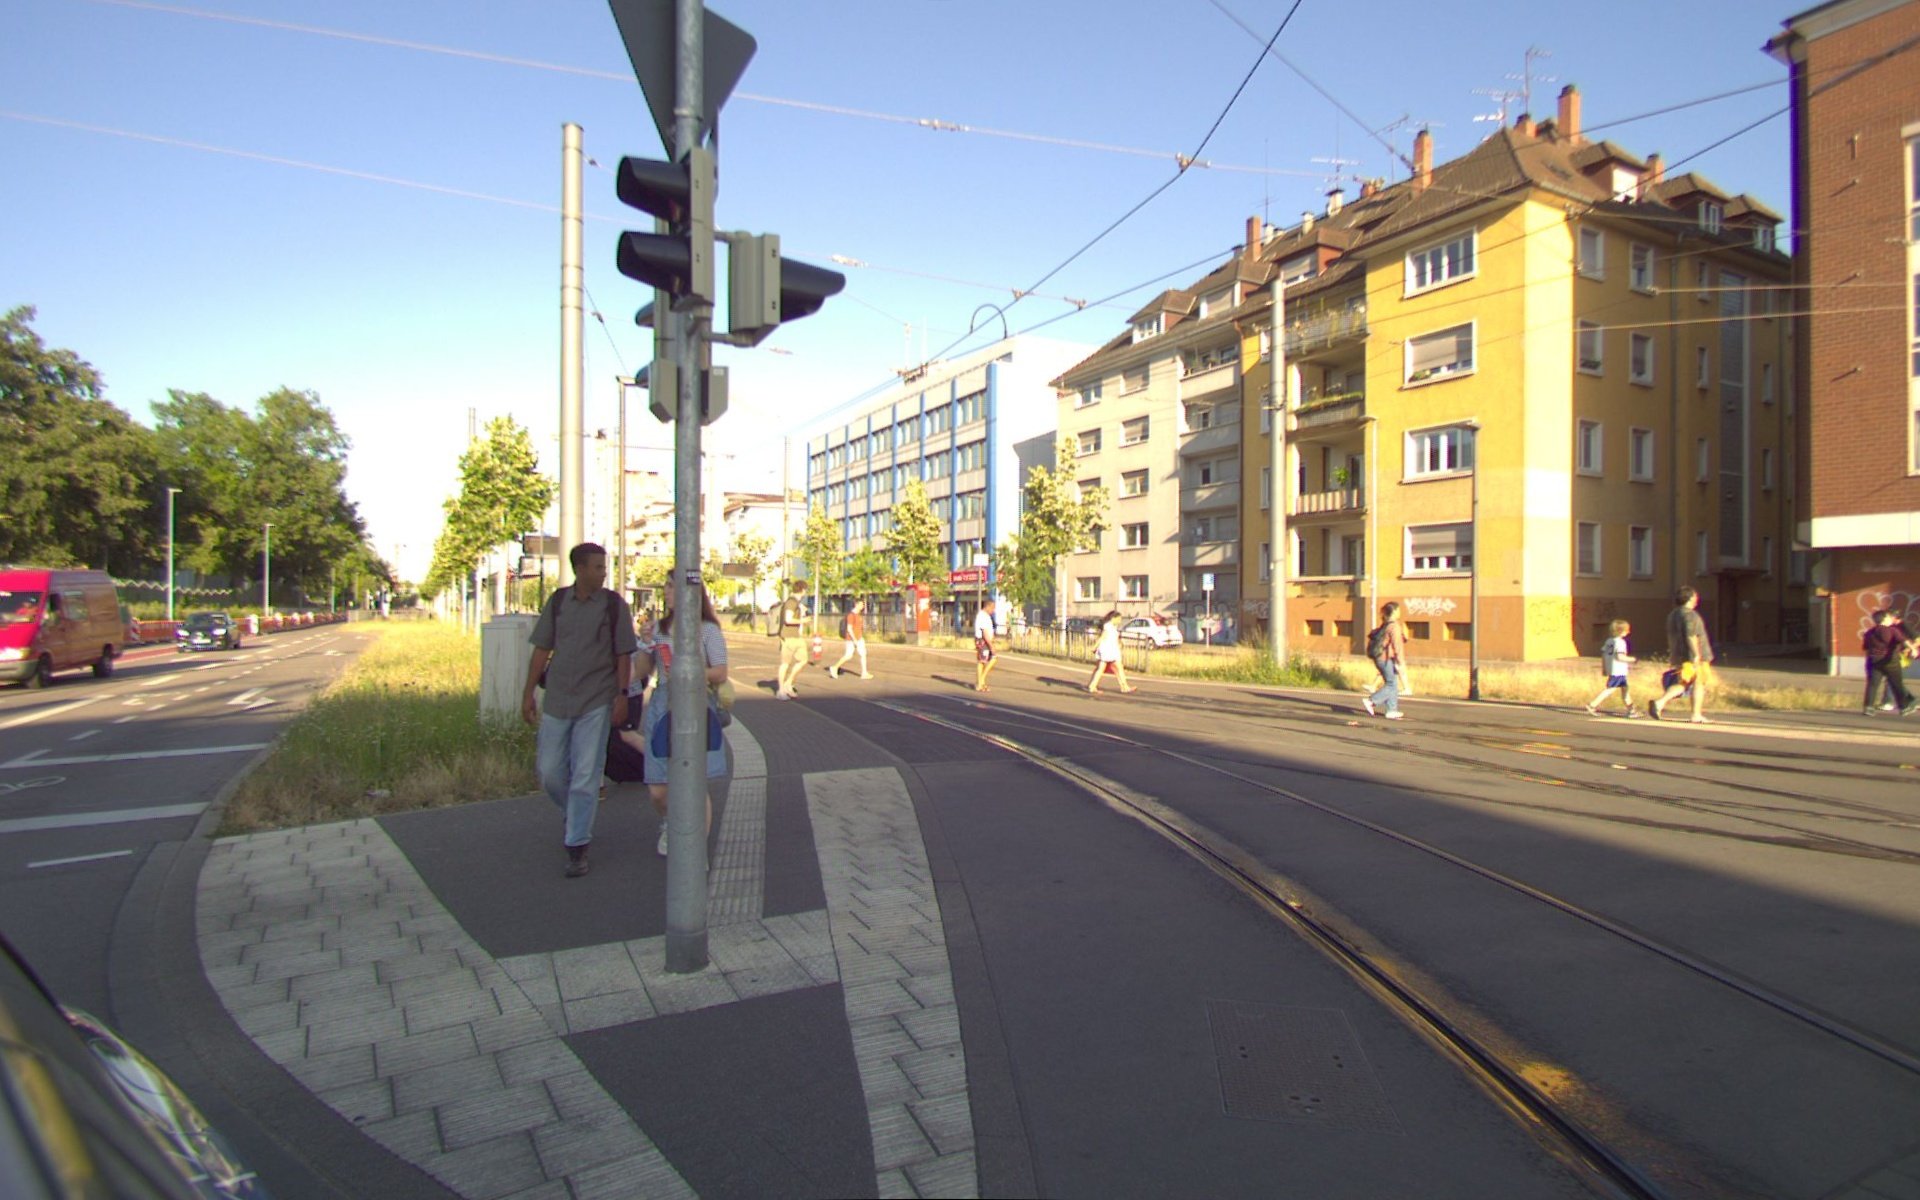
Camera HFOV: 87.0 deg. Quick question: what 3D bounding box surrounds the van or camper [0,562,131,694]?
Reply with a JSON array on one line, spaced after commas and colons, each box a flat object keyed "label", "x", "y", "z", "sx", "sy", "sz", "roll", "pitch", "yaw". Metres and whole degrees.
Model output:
[{"label": "van or camper", "x": -20.367, "y": 0.562, "z": 22.117, "sx": 1.965, "sy": 2.548, "sz": 5.934, "roll": -1, "pitch": 0, "yaw": -24}]

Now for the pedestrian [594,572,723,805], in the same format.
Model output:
[{"label": "pedestrian", "x": -2.292, "y": 0.624, "z": 7.673, "sx": 0.774, "sy": 1.653, "sz": 0.621, "roll": -1, "pitch": 0, "yaw": -31}]

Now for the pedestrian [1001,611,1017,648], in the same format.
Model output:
[{"label": "pedestrian", "x": 2.577, "y": 1.533, "z": 52.914, "sx": 0.552, "sy": 1.861, "sz": 0.725, "roll": -1, "pitch": 0, "yaw": -22}]

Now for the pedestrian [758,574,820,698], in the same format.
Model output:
[{"label": "pedestrian", "x": -2.681, "y": 0.548, "z": 15.840, "sx": 0.774, "sy": 1.878, "sz": 0.621, "roll": -1, "pitch": 0, "yaw": -26}]

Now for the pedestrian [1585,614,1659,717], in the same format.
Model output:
[{"label": "pedestrian", "x": 9.114, "y": 0.892, "z": 13.953, "sx": 0.598, "sy": 1.371, "sz": 0.597, "roll": 2, "pitch": -3, "yaw": -7}]

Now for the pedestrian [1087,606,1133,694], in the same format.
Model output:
[{"label": "pedestrian", "x": 2.584, "y": 0.851, "z": 17.415, "sx": 0.524, "sy": 1.467, "sz": 0.630, "roll": -1, "pitch": 0, "yaw": 36}]

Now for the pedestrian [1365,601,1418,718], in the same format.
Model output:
[{"label": "pedestrian", "x": 5.943, "y": 0.794, "z": 13.958, "sx": 0.615, "sy": 1.547, "sz": 0.782, "roll": -1, "pitch": 0, "yaw": 21}]

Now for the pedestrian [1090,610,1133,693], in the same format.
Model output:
[{"label": "pedestrian", "x": 2.723, "y": 0.913, "z": 18.149, "sx": 0.523, "sy": 1.442, "sz": 0.631, "roll": -1, "pitch": 0, "yaw": 34}]

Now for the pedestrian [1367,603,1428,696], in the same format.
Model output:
[{"label": "pedestrian", "x": 7.782, "y": 0.859, "z": 18.024, "sx": 0.674, "sy": 1.596, "sz": 0.842, "roll": -1, "pitch": 0, "yaw": -2}]

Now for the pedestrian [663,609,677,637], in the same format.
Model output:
[{"label": "pedestrian", "x": -18.040, "y": 1.396, "z": 62.885, "sx": 0.649, "sy": 1.705, "sz": 0.774, "roll": -1, "pitch": 0, "yaw": -31}]

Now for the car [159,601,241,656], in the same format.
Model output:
[{"label": "car", "x": -29.805, "y": 1.065, "z": 39.802, "sx": 1.966, "sy": 2.029, "sz": 4.013, "roll": -1, "pitch": 0, "yaw": -29}]

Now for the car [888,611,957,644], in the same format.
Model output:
[{"label": "car", "x": -1.911, "y": 1.337, "z": 50.343, "sx": 1.855, "sy": 1.519, "sz": 3.955, "roll": -1, "pitch": 0, "yaw": -29}]

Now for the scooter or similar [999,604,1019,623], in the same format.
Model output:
[{"label": "scooter or similar", "x": 2.582, "y": 0.708, "z": 53.230, "sx": 0.479, "sy": 1.013, "sz": 1.334, "roll": -1, "pitch": 0, "yaw": -22}]

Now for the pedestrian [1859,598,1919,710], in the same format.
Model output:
[{"label": "pedestrian", "x": 13.837, "y": 0.783, "z": 14.949, "sx": 0.789, "sy": 1.600, "sz": 0.599, "roll": -1, "pitch": 0, "yaw": 44}]

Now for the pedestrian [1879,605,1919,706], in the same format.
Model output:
[{"label": "pedestrian", "x": 15.425, "y": 0.882, "z": 16.293, "sx": 0.673, "sy": 1.596, "sz": 0.843, "roll": -1, "pitch": 0, "yaw": -42}]

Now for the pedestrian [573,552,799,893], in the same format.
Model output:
[{"label": "pedestrian", "x": -1.447, "y": 0.593, "z": 5.454, "sx": 0.782, "sy": 1.653, "sz": 0.894, "roll": -1, "pitch": 0, "yaw": 20}]

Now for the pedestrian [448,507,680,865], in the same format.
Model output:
[{"label": "pedestrian", "x": -2.203, "y": 0.425, "z": 5.710, "sx": 0.782, "sy": 1.814, "sz": 0.894, "roll": 3, "pitch": 2, "yaw": 19}]

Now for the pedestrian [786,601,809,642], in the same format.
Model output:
[{"label": "pedestrian", "x": -6.879, "y": 0.909, "z": 42.806, "sx": 0.774, "sy": 1.685, "sz": 0.621, "roll": -1, "pitch": 0, "yaw": -26}]

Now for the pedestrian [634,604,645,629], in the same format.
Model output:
[{"label": "pedestrian", "x": -22.740, "y": 1.149, "z": 71.754, "sx": 0.649, "sy": 1.705, "sz": 0.774, "roll": -1, "pitch": 0, "yaw": -23}]

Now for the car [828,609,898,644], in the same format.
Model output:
[{"label": "car", "x": -4.693, "y": 1.237, "z": 48.576, "sx": 1.855, "sy": 1.519, "sz": 3.955, "roll": -1, "pitch": 0, "yaw": -29}]

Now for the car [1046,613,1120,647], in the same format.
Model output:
[{"label": "car", "x": 6.077, "y": 1.468, "z": 50.348, "sx": 1.855, "sy": 1.519, "sz": 3.685, "roll": -1, "pitch": 0, "yaw": -29}]

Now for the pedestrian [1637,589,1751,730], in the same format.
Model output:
[{"label": "pedestrian", "x": 9.562, "y": 0.749, "z": 13.216, "sx": 0.888, "sy": 1.771, "sz": 0.776, "roll": -1, "pitch": 0, "yaw": 2}]

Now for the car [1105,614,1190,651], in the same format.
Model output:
[{"label": "car", "x": 8.509, "y": 1.449, "z": 46.117, "sx": 1.855, "sy": 1.519, "sz": 3.685, "roll": -1, "pitch": 0, "yaw": -29}]

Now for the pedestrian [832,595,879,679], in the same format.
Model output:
[{"label": "pedestrian", "x": -2.213, "y": 0.761, "z": 21.369, "sx": 0.774, "sy": 1.711, "sz": 0.621, "roll": -1, "pitch": 0, "yaw": -26}]

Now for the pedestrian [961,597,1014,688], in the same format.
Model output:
[{"label": "pedestrian", "x": 0.486, "y": 0.765, "z": 17.917, "sx": 0.618, "sy": 1.561, "sz": 0.778, "roll": -4, "pitch": -7, "yaw": 35}]
